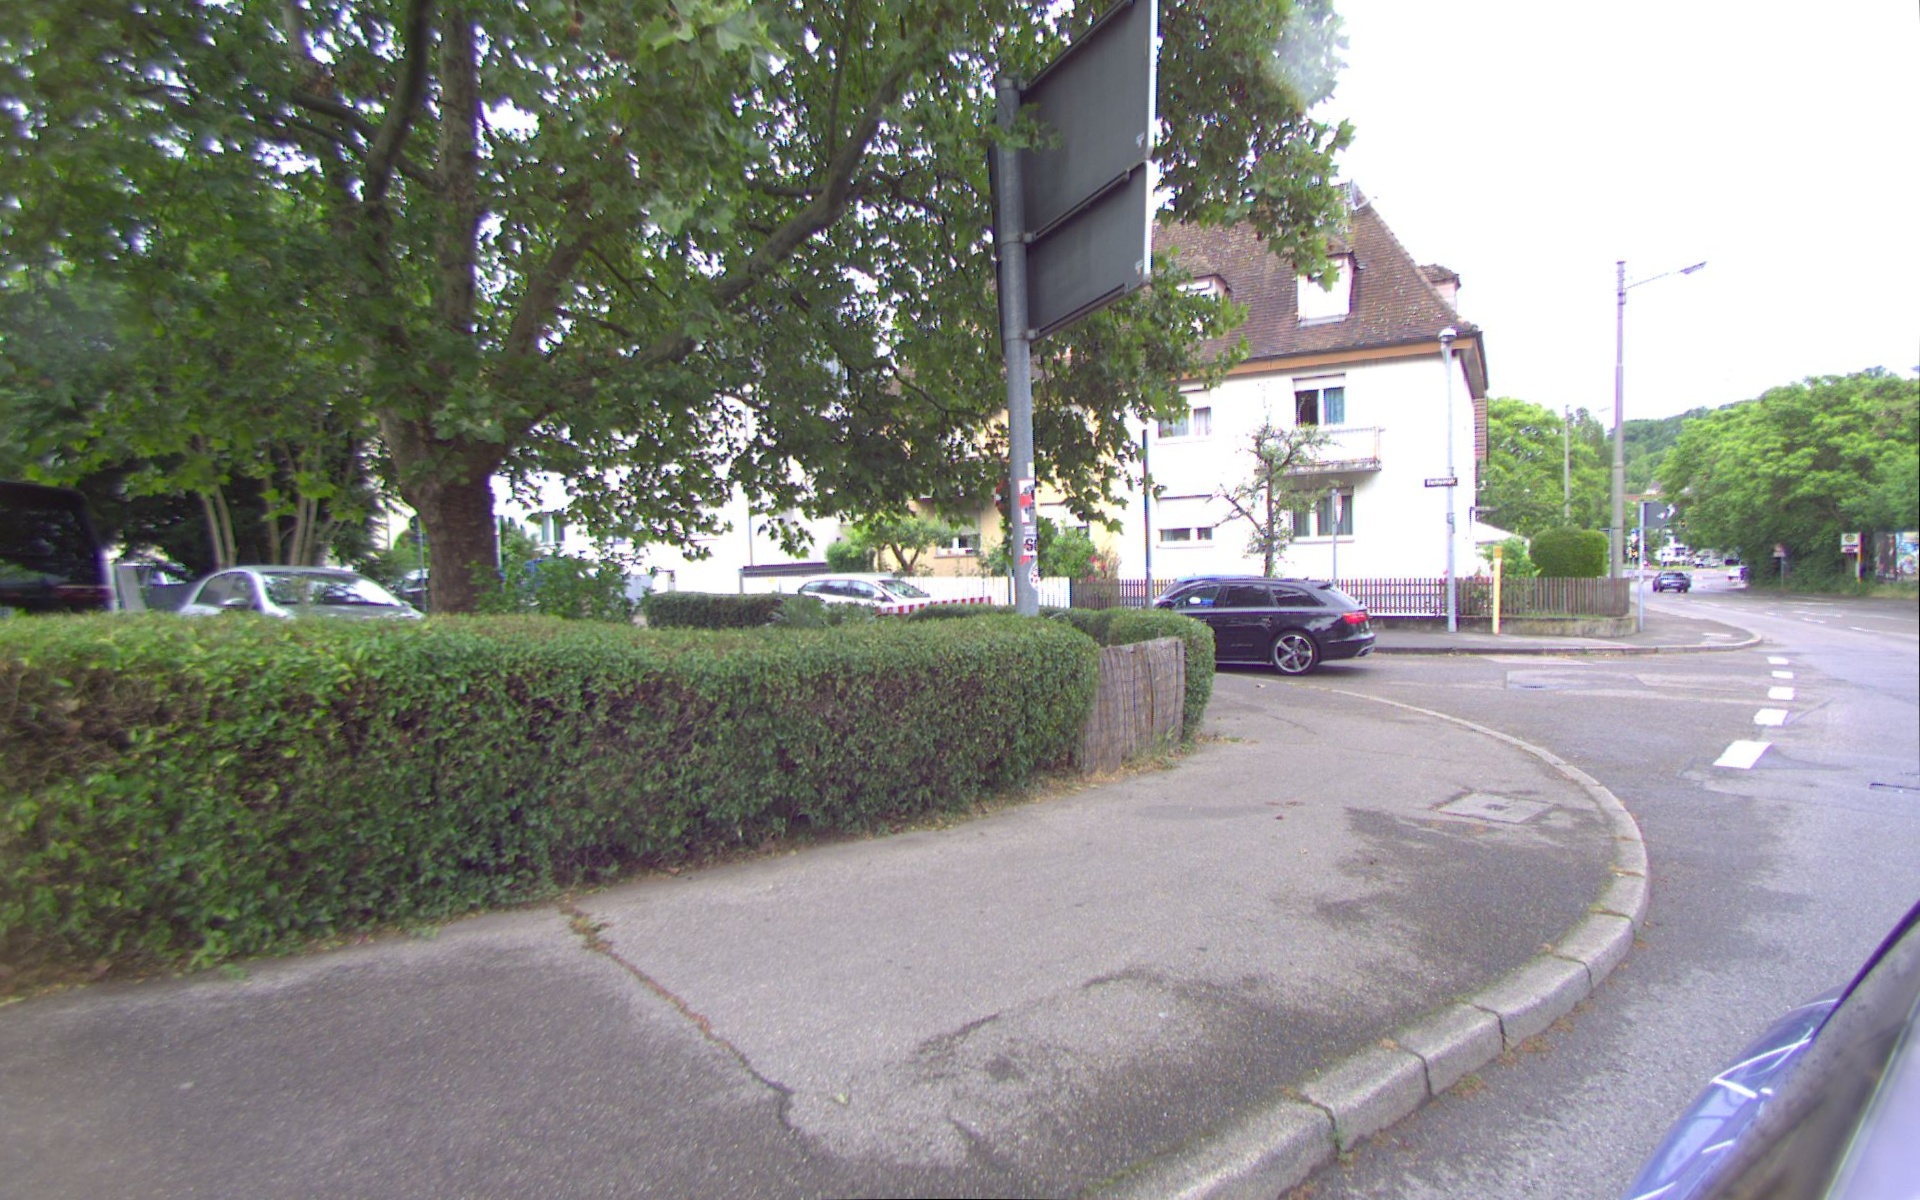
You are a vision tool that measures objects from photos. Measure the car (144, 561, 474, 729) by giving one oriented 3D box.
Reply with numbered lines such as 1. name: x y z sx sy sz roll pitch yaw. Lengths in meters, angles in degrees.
1. car: -7.484 0.377 11.542 3.974 1.599 1.800 1 2 35

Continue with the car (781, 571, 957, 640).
1. car: -2.117 0.083 23.362 3.752 1.471 1.754 1 1 30

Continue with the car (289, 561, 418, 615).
1. car: -22.107 -0.474 36.862 4.535 1.862 1.981 1 2 28

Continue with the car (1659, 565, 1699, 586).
1. car: 53.323 -1.820 75.107 1.883 1.479 3.962 1 2 28

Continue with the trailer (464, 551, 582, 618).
1. trailer: -13.958 -0.523 32.336 3.456 2.038 1.657 1 1 26

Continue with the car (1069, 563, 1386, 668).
1. car: 4.335 0.169 16.506 4.768 1.498 1.870 1 2 25

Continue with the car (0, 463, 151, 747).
1. car: -8.576 0.012 7.946 4.376 1.956 1.980 1 2 29

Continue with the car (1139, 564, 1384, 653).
1. car: 5.651 0.076 19.110 4.095 1.498 1.865 1 2 32

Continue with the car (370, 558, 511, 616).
1. car: -17.539 -0.463 34.145 4.535 1.862 1.981 1 2 28
